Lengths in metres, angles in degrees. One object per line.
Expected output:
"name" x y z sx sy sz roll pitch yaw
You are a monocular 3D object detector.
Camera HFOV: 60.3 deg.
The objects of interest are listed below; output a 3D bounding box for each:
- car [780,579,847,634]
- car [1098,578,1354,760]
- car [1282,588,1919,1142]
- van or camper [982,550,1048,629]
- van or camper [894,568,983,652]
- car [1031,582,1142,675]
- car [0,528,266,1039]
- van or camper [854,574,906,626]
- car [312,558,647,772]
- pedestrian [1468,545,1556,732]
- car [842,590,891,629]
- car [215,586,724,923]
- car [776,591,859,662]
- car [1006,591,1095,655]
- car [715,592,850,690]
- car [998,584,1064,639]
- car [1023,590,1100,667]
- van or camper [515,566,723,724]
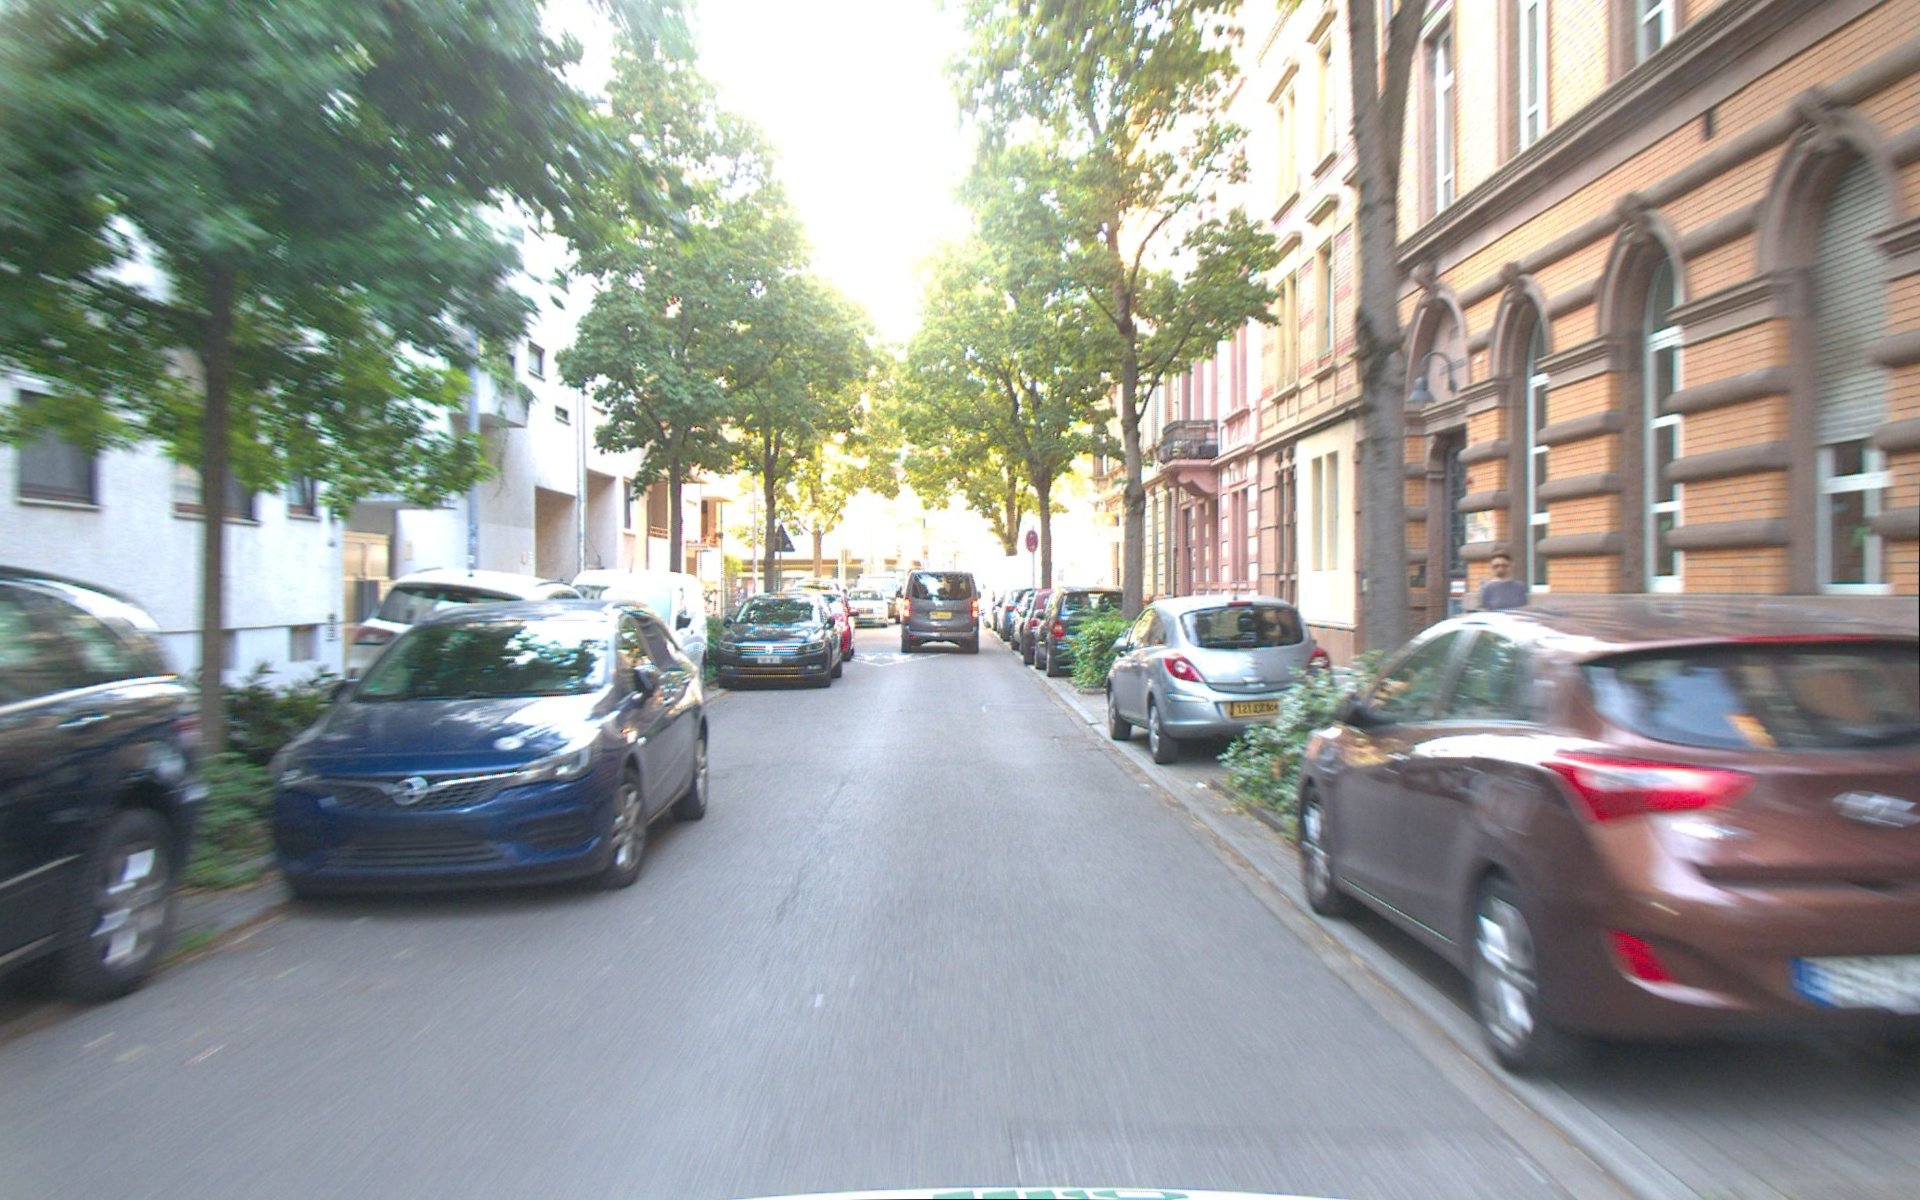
"car" -4.709 0.201 53.717 1.858 1.665 4.155 2 0 -1
"car" 2.474 0.584 16.322 1.663 1.508 3.998 -2 0 -3
"car" 2.576 0.709 6.590 1.687 1.475 4.214 -1 0 -1
"van or camper" 1.893 -0.379 58.498 1.953 2.644 5.422 0 0 -2
"van or camper" -0.466 0.213 40.122 1.993 1.930 4.271 0 0 1
"car" 2.268 0.479 30.498 1.579 1.586 3.764 -1 0 -3
"car" -4.097 0.578 4.999 1.953 1.675 4.921 2 0 -1
"van or camper" -3.233 -0.001 67.398 1.824 2.018 4.271 -1 0 1
"car" -4.489 0.526 16.282 1.993 1.701 4.647 3 1 -2
"pedestrian" 5.055 0.344 15.156 0.614 1.677 0.532 0 0 -1
"car" -3.487 0.340 62.292 1.706 1.428 3.374 -1 0 -1
"car" -2.577 0.705 9.876 1.793 1.544 4.515 0 0 -1
"car" -3.085 0.540 36.286 1.597 1.455 3.541 -1 0 -2
"car" 2.100 0.514 39.443 1.681 1.428 3.811 0 0 -4
"car" -2.879 0.619 27.697 1.809 1.477 4.502 0 0 -1
"car" 1.990 0.311 47.520 1.714 1.497 3.775 0 0 0
"car" 2.099 0.560 34.793 1.518 1.523 3.611 0 0 2
"van or camper" -4.383 0.513 21.977 1.892 1.790 4.464 3 1 -2
